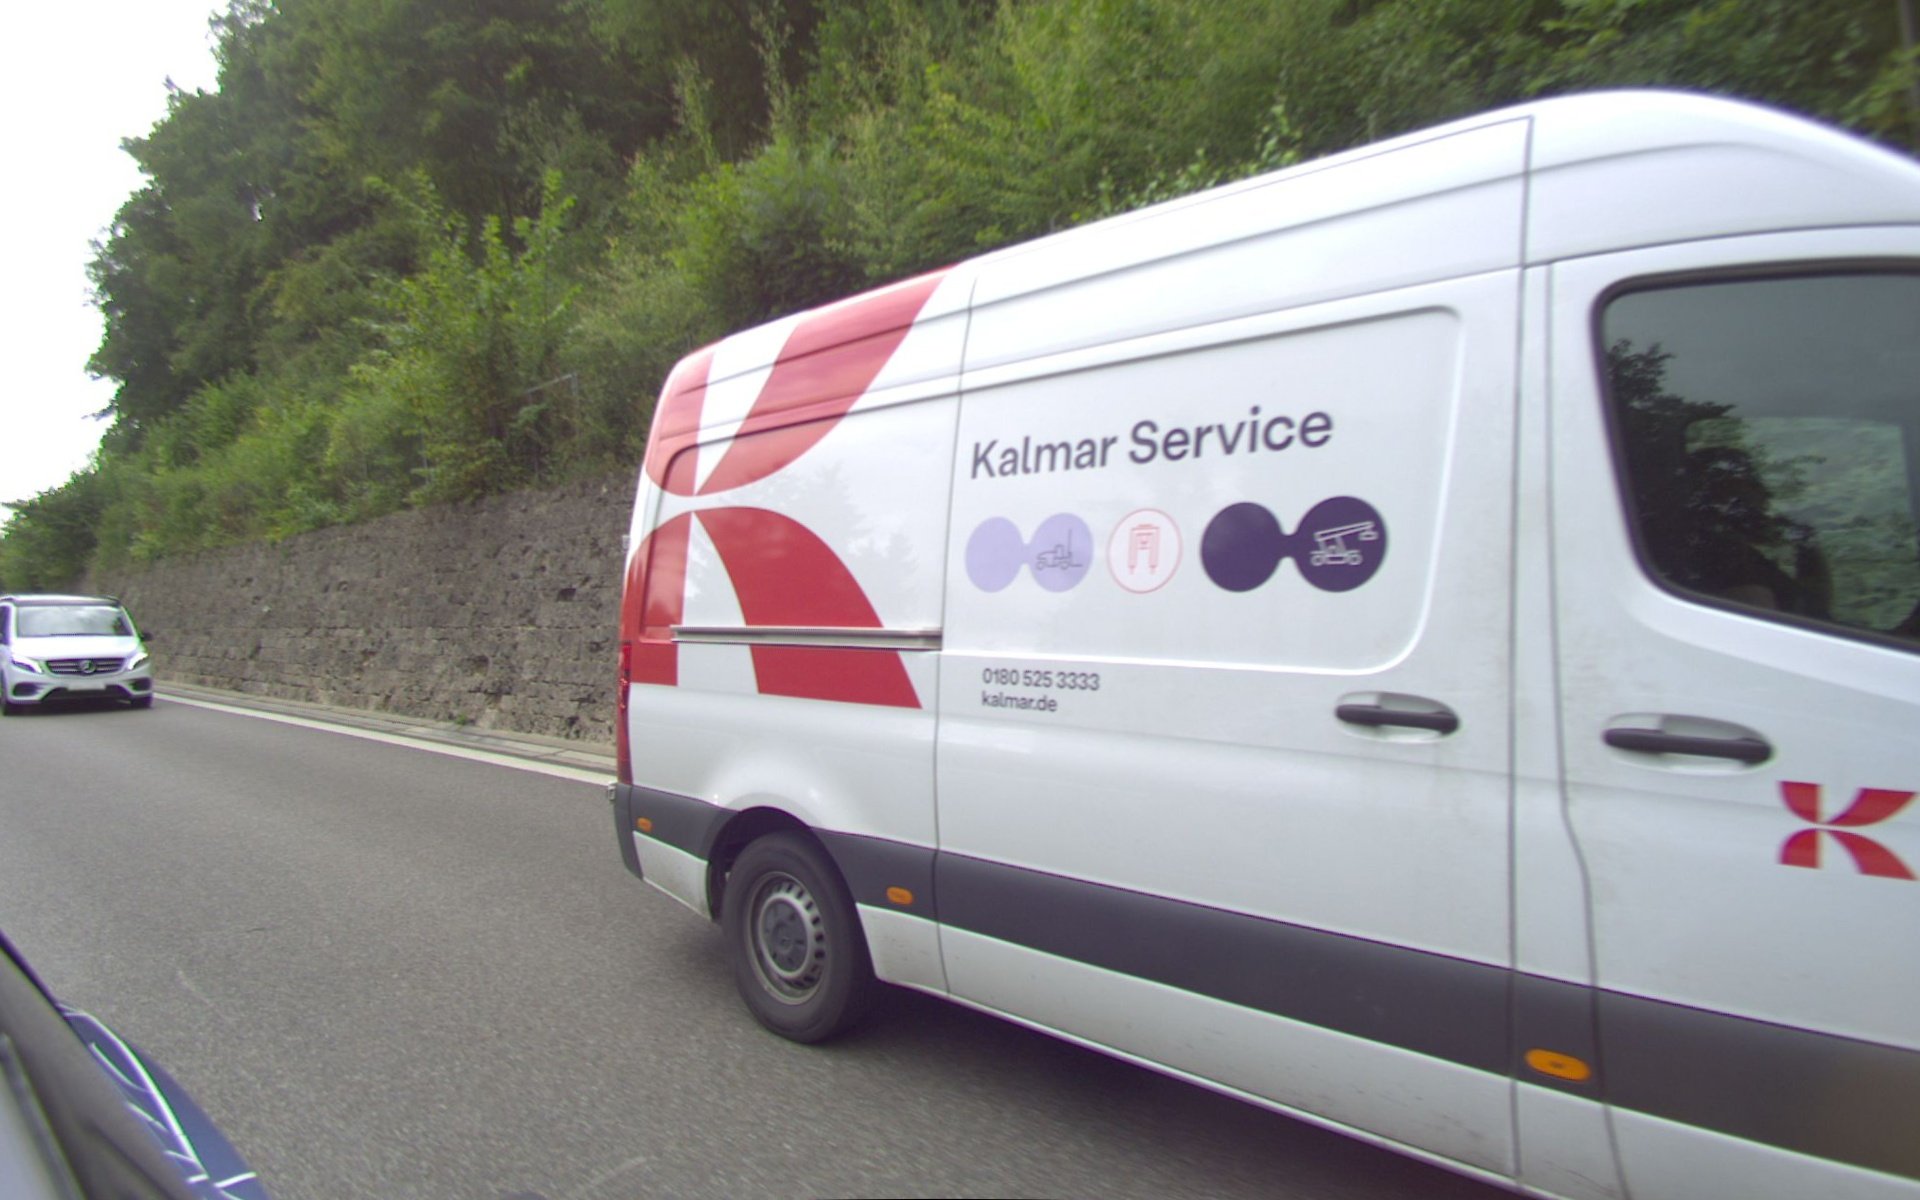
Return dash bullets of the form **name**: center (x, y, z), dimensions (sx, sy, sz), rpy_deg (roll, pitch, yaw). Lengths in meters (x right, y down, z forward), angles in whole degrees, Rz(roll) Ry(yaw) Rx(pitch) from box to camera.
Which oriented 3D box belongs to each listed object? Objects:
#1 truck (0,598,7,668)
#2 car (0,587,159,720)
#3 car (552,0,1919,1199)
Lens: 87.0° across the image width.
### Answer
- **truck**: center (-34.670, 1.167, 35.036), dimensions (6.585, 2.297, 1.972), rpy_deg (-1, 0, 43)
- **car**: center (-16.177, 0.856, 18.034), dimensions (6.146, 1.967, 1.972), rpy_deg (-1, 0, 42)
- **car**: center (1.340, 0.126, 2.876), dimensions (6.271, 2.605, 2.005), rpy_deg (-1, -1, 41)
